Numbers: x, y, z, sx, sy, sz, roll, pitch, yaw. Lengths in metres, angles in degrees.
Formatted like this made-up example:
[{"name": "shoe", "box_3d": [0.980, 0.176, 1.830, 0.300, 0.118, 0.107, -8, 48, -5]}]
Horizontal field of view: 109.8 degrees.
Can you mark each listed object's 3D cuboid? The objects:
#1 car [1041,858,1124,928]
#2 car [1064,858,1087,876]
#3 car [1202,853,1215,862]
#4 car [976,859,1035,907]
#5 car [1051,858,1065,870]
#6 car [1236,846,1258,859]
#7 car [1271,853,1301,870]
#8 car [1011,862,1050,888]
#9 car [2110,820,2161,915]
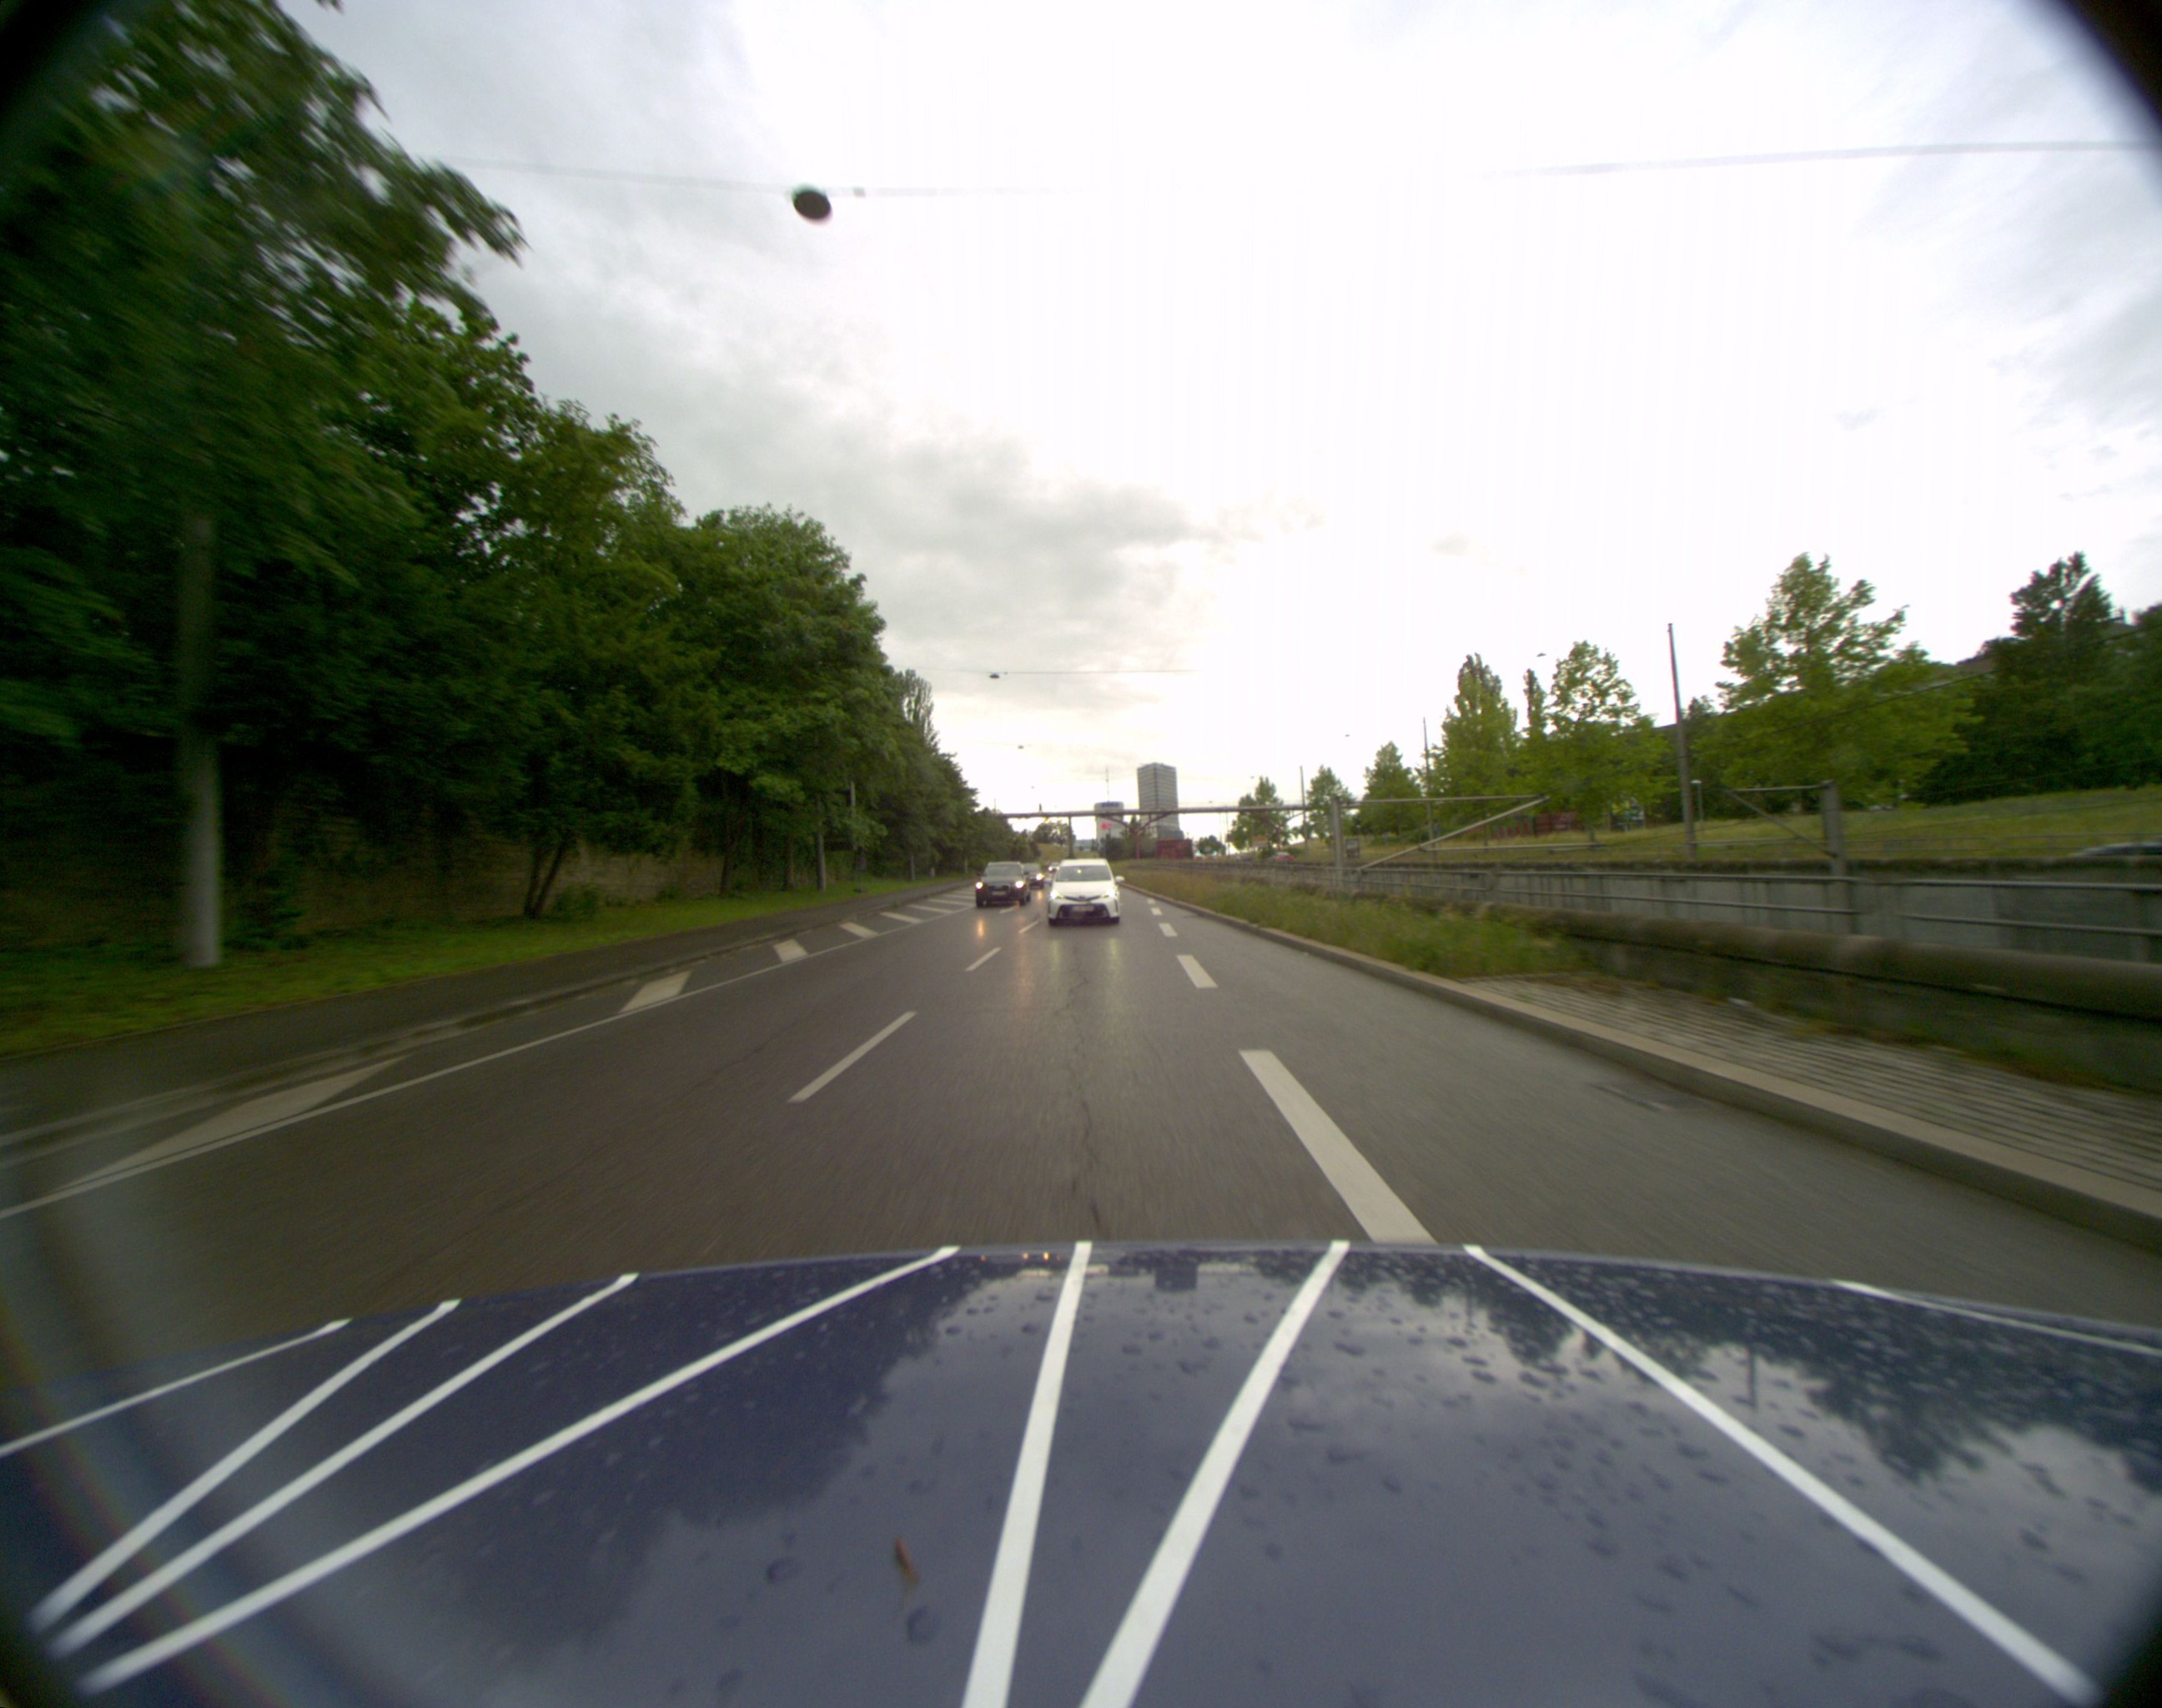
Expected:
[{"name": "car", "box_3d": [0.099, 0.935, 19.993, 1.924, 1.604, 4.376, -1, 0, 2]}, {"name": "car", "box_3d": [-0.535, 1.305, 77.569, 1.998, 1.761, 4.001, -2, -1, 2]}, {"name": "car", "box_3d": [26.657, 0.734, 158.651, 1.661, 1.565, 3.790, -5, 0, -4]}, {"name": "car", "box_3d": [-2.818, 1.051, 29.074, 1.928, 1.591, 4.278, -2, 0, -2]}, {"name": "car", "box_3d": [-3.437, 1.480, 113.209, 1.999, 1.761, 4.000, -1, 0, -1]}, {"name": "car", "box_3d": [21.950, -0.158, 100.629, 1.896, 1.631, 3.972, -3, 0, -1]}, {"name": "car", "box_3d": [22.130, 0.797, 82.332, 1.896, 1.634, 4.357, -5, 0, -1]}, {"name": "car", "box_3d": [-2.977, 1.243, 45.486, 1.845, 1.377, 4.001, -3, 0, 2]}, {"name": "car", "box_3d": [24.092, 0.234, 14.999, 1.896, 1.959, 4.034, -5, 0, -4]}]
